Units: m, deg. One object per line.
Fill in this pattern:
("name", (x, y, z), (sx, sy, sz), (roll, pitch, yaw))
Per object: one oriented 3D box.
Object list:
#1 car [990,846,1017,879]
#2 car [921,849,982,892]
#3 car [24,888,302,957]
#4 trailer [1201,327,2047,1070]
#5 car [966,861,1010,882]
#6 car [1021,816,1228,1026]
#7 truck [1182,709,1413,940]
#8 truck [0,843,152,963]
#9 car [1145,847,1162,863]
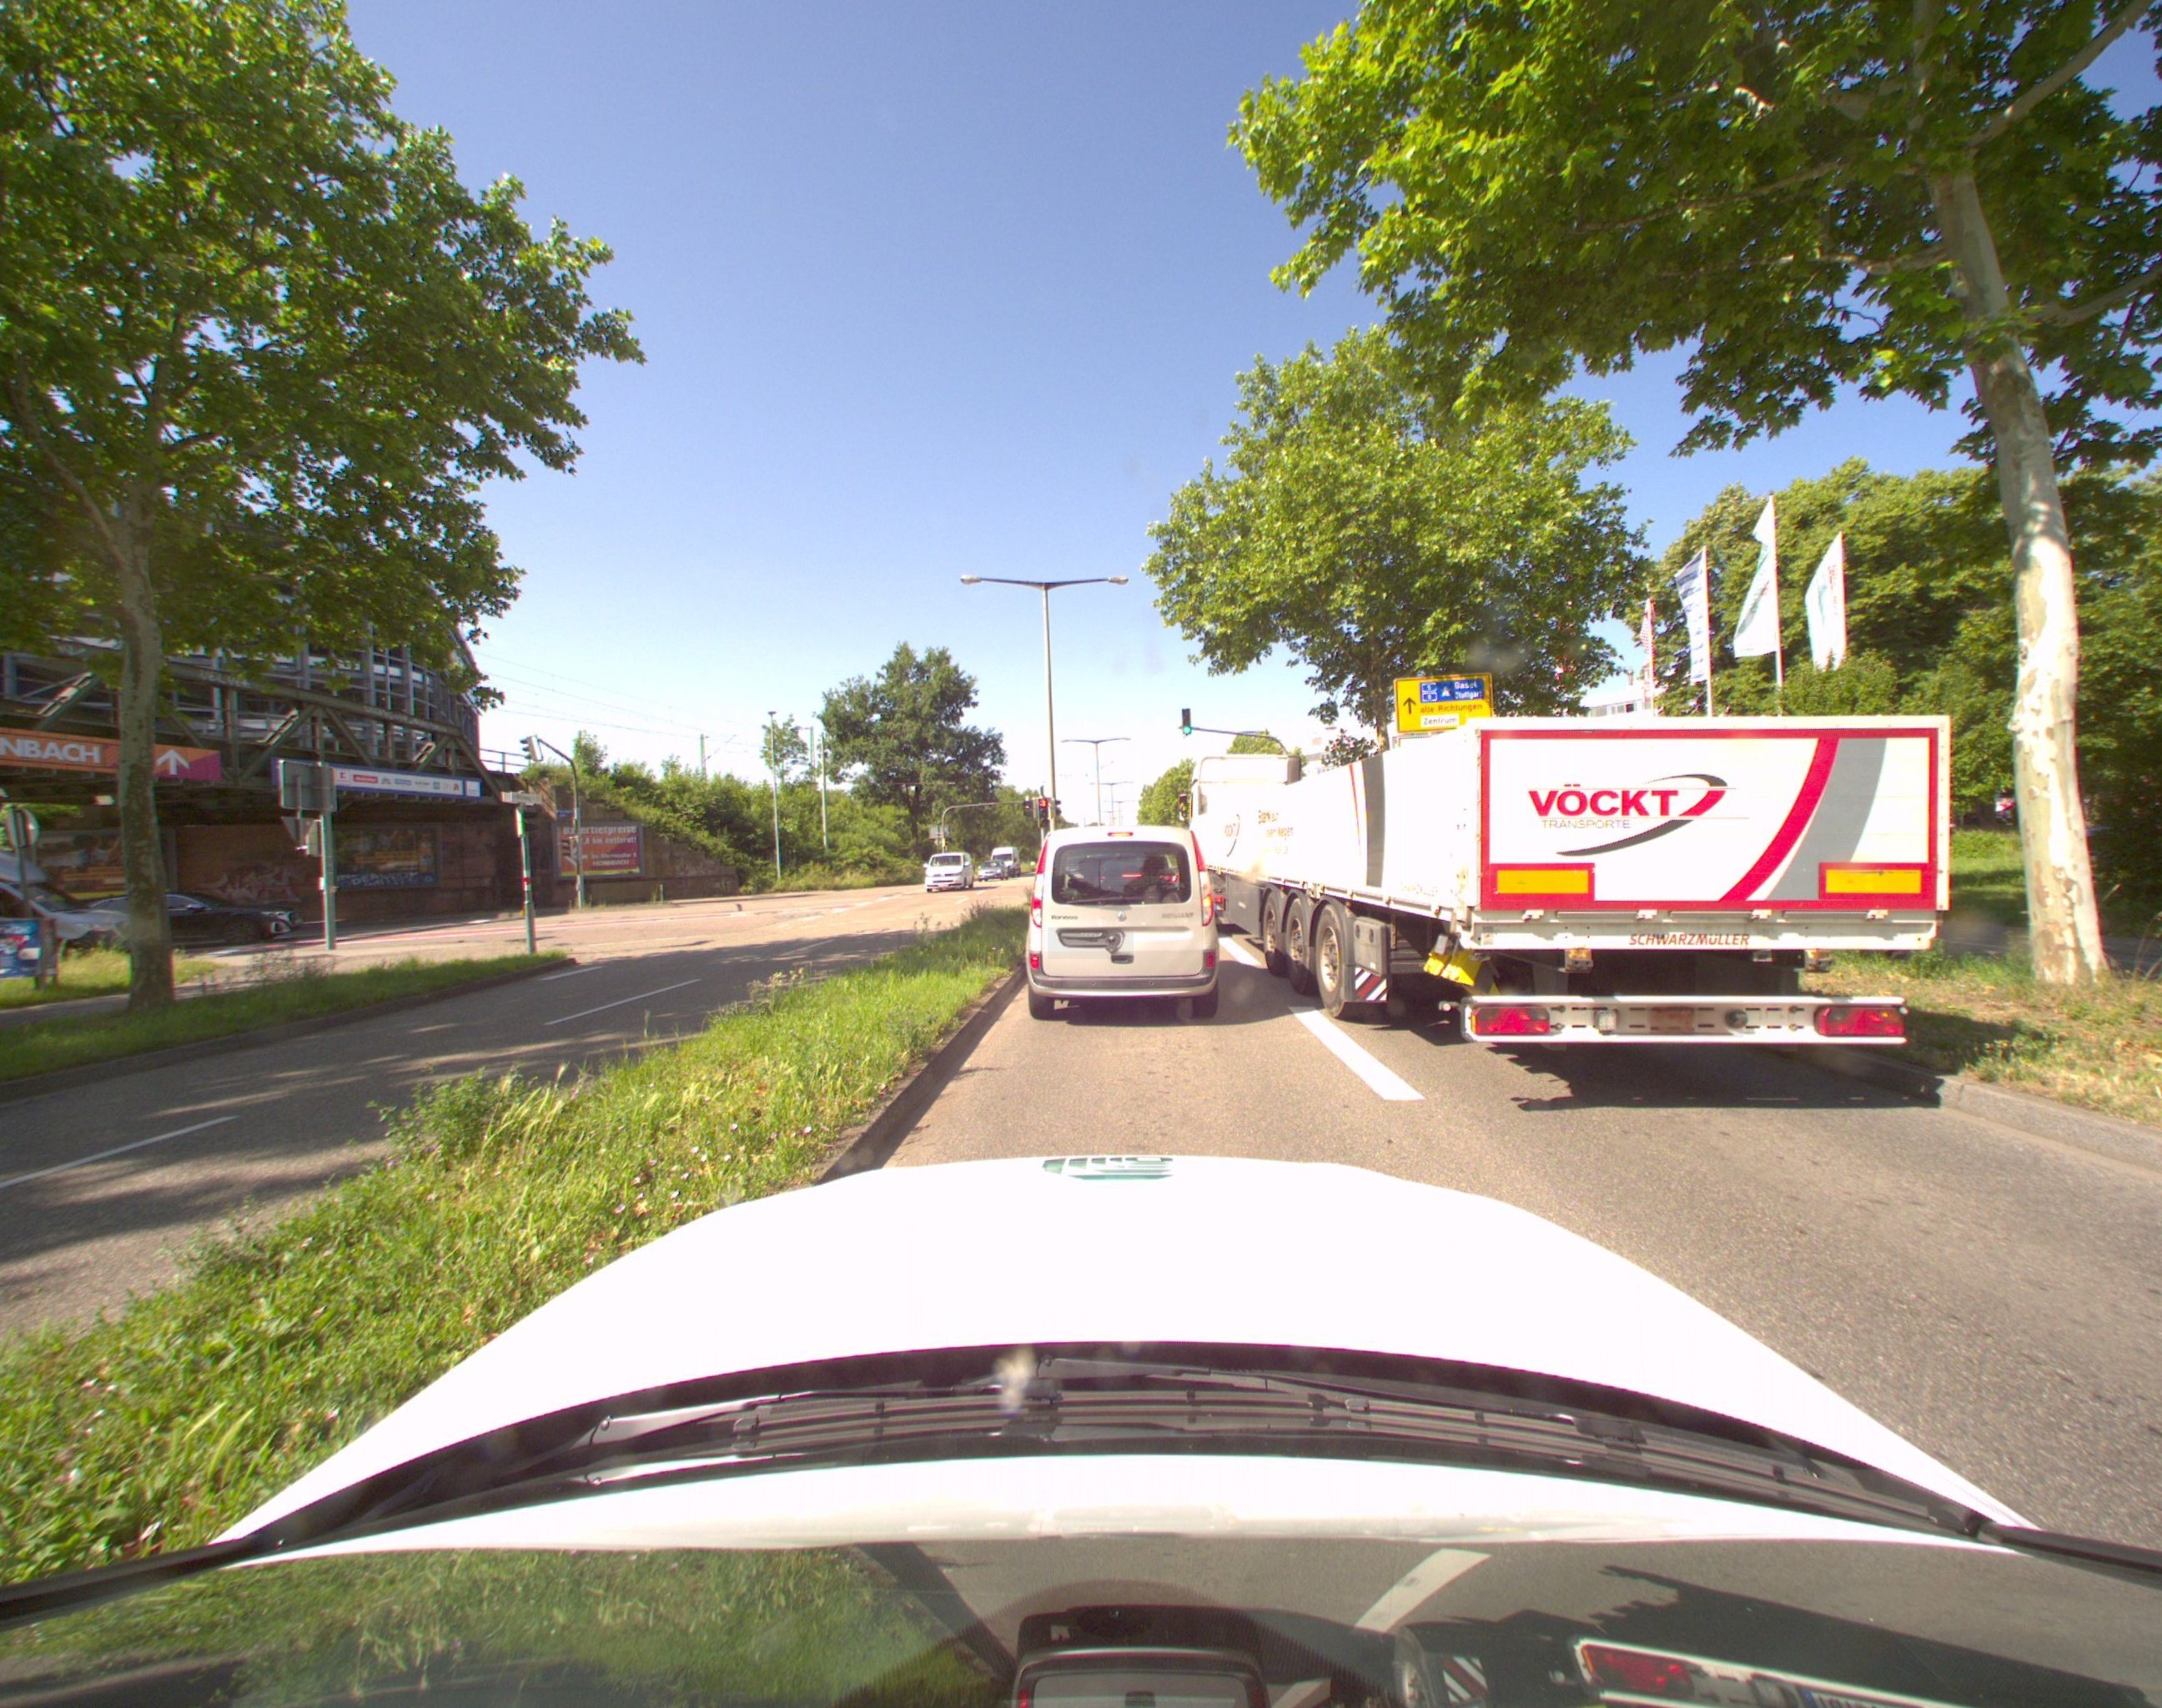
("car", (-6.554, 0.703, 69.446), (2.054, 2.614, 5.862), (-1, 0, -3))
("car", (-6.448, 0.810, 41.062), (1.986, 1.891, 4.990), (-4, 0, 2))
("car", (-26.080, 1.891, 23.454), (5.074, 1.596, 1.510), (-1, -1, -35))
("trailer", (3.651, -0.754, 10.294), (3.004, 3.740, 12.249), (-1, 0, 3))
("car", (-6.645, 1.234, 57.841), (1.920, 1.409, 4.193), (-1, 0, -24))
("car", (0.450, 0.588, 8.967), (1.742, 1.772, 3.951), (-1, 0, 2))
("truck", (4.033, -0.462, 17.210), (3.060, 3.758, 7.479), (-1, 0, 2))
("truck", (-26.223, 1.146, 18.488), (6.431, 2.712, 1.979), (-1, -1, -34))
("car", (9.487, 0.174, 107.350), (1.986, 2.014, 4.002), (-1, 0, 2))
